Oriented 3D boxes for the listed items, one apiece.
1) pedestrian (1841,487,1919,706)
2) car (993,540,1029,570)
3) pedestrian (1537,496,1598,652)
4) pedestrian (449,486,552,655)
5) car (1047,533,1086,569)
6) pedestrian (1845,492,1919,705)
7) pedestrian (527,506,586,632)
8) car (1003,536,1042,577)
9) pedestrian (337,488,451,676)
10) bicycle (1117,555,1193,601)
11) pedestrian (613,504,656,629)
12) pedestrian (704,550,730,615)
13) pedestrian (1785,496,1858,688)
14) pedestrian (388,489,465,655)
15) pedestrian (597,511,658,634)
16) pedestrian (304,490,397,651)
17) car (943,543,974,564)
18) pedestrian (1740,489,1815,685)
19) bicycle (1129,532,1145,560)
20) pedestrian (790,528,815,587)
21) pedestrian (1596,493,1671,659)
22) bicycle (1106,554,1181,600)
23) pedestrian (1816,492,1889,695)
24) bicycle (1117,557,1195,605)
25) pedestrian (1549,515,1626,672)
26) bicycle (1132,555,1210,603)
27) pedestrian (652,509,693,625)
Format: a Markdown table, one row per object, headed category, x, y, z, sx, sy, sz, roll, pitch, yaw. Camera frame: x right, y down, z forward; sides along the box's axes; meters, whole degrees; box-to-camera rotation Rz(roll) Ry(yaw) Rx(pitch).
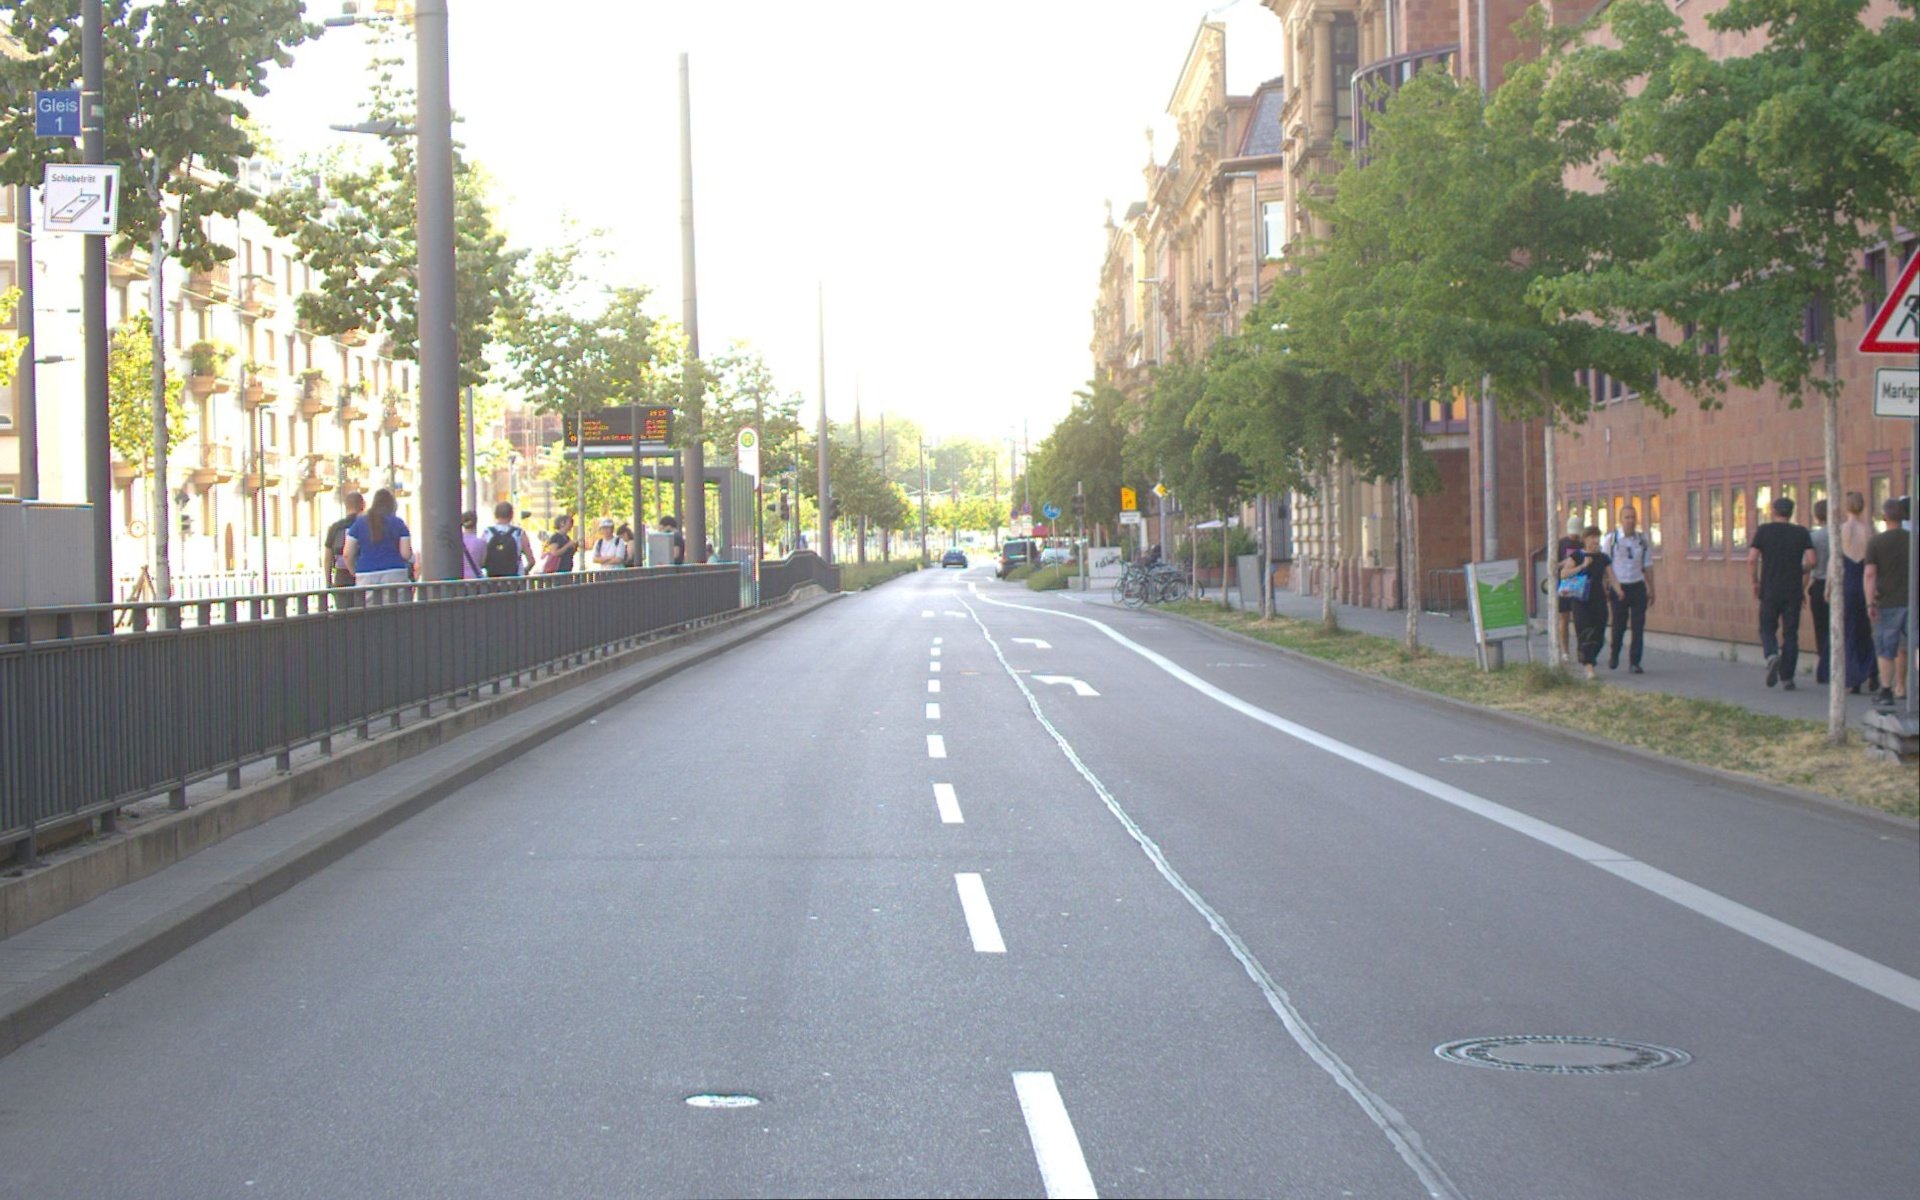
| category | x | y | z | sx | sy | sz | roll | pitch | yaw |
| --- | --- | --- | --- | --- | --- | --- | --- | --- | --- |
| pedestrian | 7.601 | -0.037 | 27.970 | 0.733 | 1.750 | 0.695 | -1 | 1 | 8 |
| car | 2.788 | -2.442 | 185.819 | 1.850 | 1.452 | 4.156 | -1 | 2 | 2 |
| pedestrian | 6.898 | -0.302 | 39.042 | 0.536 | 1.750 | 0.422 | -1 | 1 | -10 |
| pedestrian | -4.655 | -0.299 | 34.893 | 0.888 | 1.666 | 1.096 | -1 | 1 | -1 |
| car | 4.837 | -2.234 | 156.069 | 1.637 | 1.481 | 4.211 | -3 | 2 | 3 |
| pedestrian | 7.731 | -0.018 | 28.806 | 0.536 | 1.750 | 0.695 | -1 | 1 | 10 |
| pedestrian | -5.616 | -0.432 | 47.882 | 0.719 | 1.726 | 0.651 | -1 | 1 | 0 |
| car | 3.137 | -2.187 | 172.710 | 1.885 | 1.930 | 4.473 | 0 | 2 | 2 |
| pedestrian | -5.118 | -0.166 | 31.127 | 0.888 | 1.666 | 0.672 | -1 | 1 | -1 |
| bicycle | 5.024 | -0.567 | 88.610 | 1.825 | 1.061 | 0.664 | -4 | 2 | -4 |
| pedestrian | -4.562 | -0.469 | 48.181 | 0.505 | 1.726 | 0.651 | -1 | 1 | 0 |
| pedestrian | -4.476 | -0.327 | 63.247 | 0.406 | 1.186 | 0.430 | -1 | 1 | -12 |
| pedestrian | 7.969 | -0.075 | 31.820 | 0.536 | 1.750 | 0.422 | -1 | 1 | 0 |
| pedestrian | -5.446 | -0.289 | 35.098 | 0.656 | 1.666 | 0.672 | -1 | 1 | -1 |
| pedestrian | -4.295 | -0.362 | 44.466 | 0.673 | 1.556 | 0.906 | -1 | 1 | 0 |
| pedestrian | -5.704 | -0.278 | 32.192 | 0.682 | 1.478 | 0.829 | -1 | 1 | 2 |
| car | -0.091 | -3.376 | 250.562 | 1.798 | 1.459 | 3.999 | -1 | 1 | 7 |
| pedestrian | 7.413 | -0.118 | 31.181 | 0.536 | 1.750 | 0.465 | -1 | 1 | -1 |
| bicycle | 9.235 | -2.838 | 179.094 | 0.661 | 1.397 | 2.352 | -1 | 2 | 0 |
| pedestrian | -4.433 | -1.190 | 96.641 | 0.655 | 1.637 | 0.867 | -1 | 0 | 0 |
| pedestrian | 7.046 | -0.257 | 35.981 | 0.571 | 1.707 | 0.641 | -1 | 1 | -5 |
| bicycle | 4.804 | -0.611 | 90.085 | 1.825 | 1.061 | 0.664 | -4 | 2 | -4 |
| pedestrian | 7.798 | -0.061 | 30.046 | 0.536 | 1.750 | 0.695 | -1 | 1 | 10 |
| bicycle | 4.893 | -0.473 | 85.855 | 1.825 | 1.061 | 0.664 | -4 | 2 | -4 |
| pedestrian | 6.465 | -0.070 | 35.422 | 0.516 | 1.600 | 0.705 | -1 | 1 | -13 |
| bicycle | 5.351 | -0.530 | 87.223 | 1.825 | 1.061 | 0.664 | -4 | 2 | -4 |
| pedestrian | -4.197 | -0.480 | 50.246 | 0.505 | 1.673 | 0.651 | -1 | 1 | 0 |
